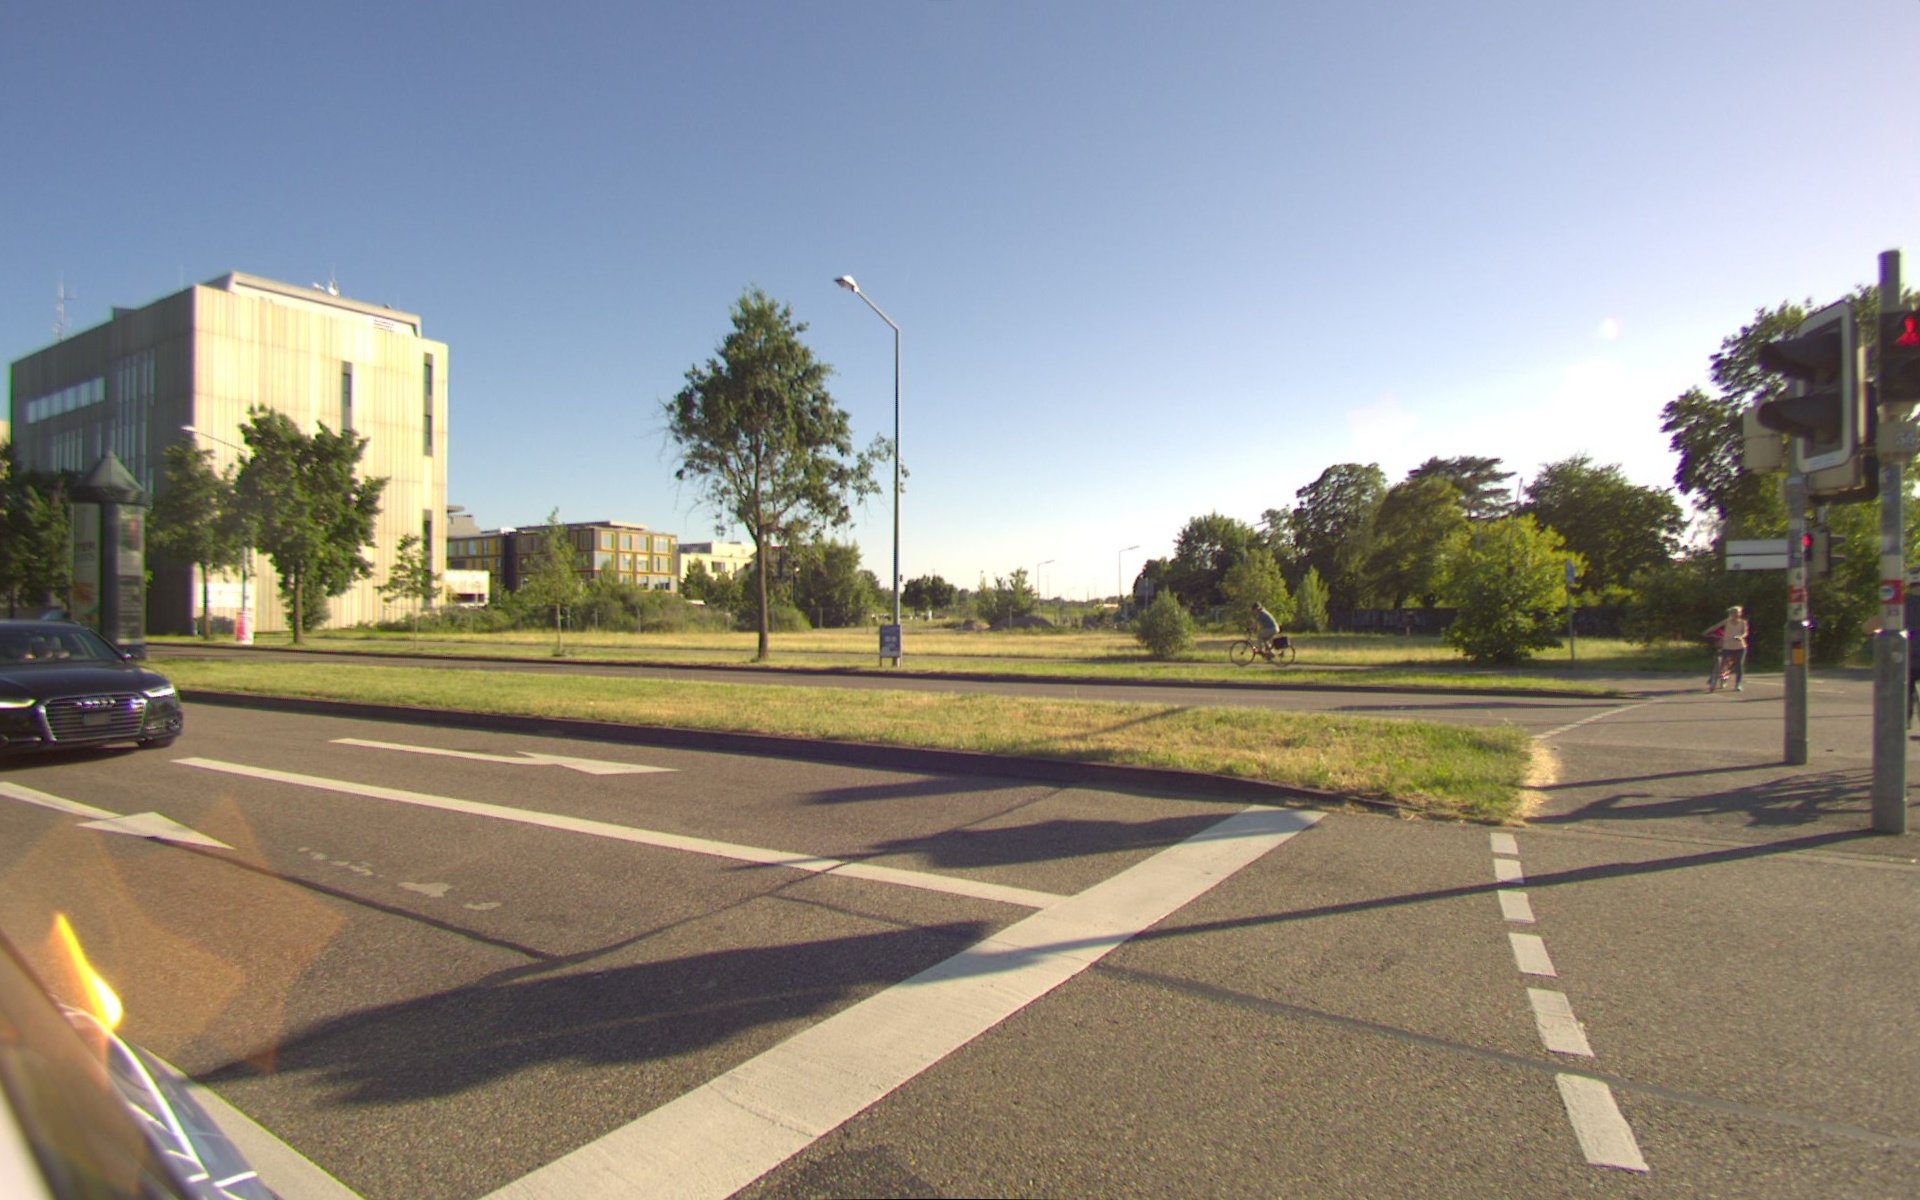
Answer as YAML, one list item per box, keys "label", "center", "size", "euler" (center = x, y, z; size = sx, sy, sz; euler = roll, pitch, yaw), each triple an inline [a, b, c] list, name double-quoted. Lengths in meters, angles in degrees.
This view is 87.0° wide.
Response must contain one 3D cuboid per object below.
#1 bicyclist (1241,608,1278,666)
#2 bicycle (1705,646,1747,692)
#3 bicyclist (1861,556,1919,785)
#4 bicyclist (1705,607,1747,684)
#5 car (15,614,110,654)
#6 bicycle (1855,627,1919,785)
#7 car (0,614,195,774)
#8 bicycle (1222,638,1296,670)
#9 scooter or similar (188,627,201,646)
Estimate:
- label: "bicyclist"
  center: [8.277, 1.018, 27.962]
  size: [0.850, 1.576, 0.427]
  euler: [-2, -2, 37]
- label: "bicycle"
  center: [15.521, 1.376, 20.485]
  size: [0.616, 0.859, 1.864]
  euler: [-2, -2, 38]
- label: "bicyclist"
  center: [7.506, 0.516, 7.697]
  size: [0.700, 1.676, 0.935]
  euler: [0, -1, 23]
- label: "bicyclist"
  center: [15.487, 0.908, 20.455]
  size: [0.616, 1.528, 0.913]
  euler: [-2, -2, 39]
- label: "car"
  center: [-40.732, 1.516, 45.923]
  size: [4.722, 1.752, 1.978]
  euler: [-1, -1, 32]
- label: "bicycle"
  center: [7.439, 0.786, 7.507]
  size: [0.700, 1.137, 1.643]
  euler: [0, 0, 23]
- label: "car"
  center: [-10.616, 0.930, 11.166]
  size: [4.999, 1.454, 1.779]
  euler: [-2, -1, 31]
- label: "bicycle"
  center: [8.254, 1.483, 27.971]
  size: [1.886, 0.859, 0.485]
  euler: [-2, -2, 37]
- label: "scooter or similar"
  center: [-46.519, 2.228, 61.474]
  size: [0.447, 1.118, 1.407]
  euler: [1, -2, -44]
